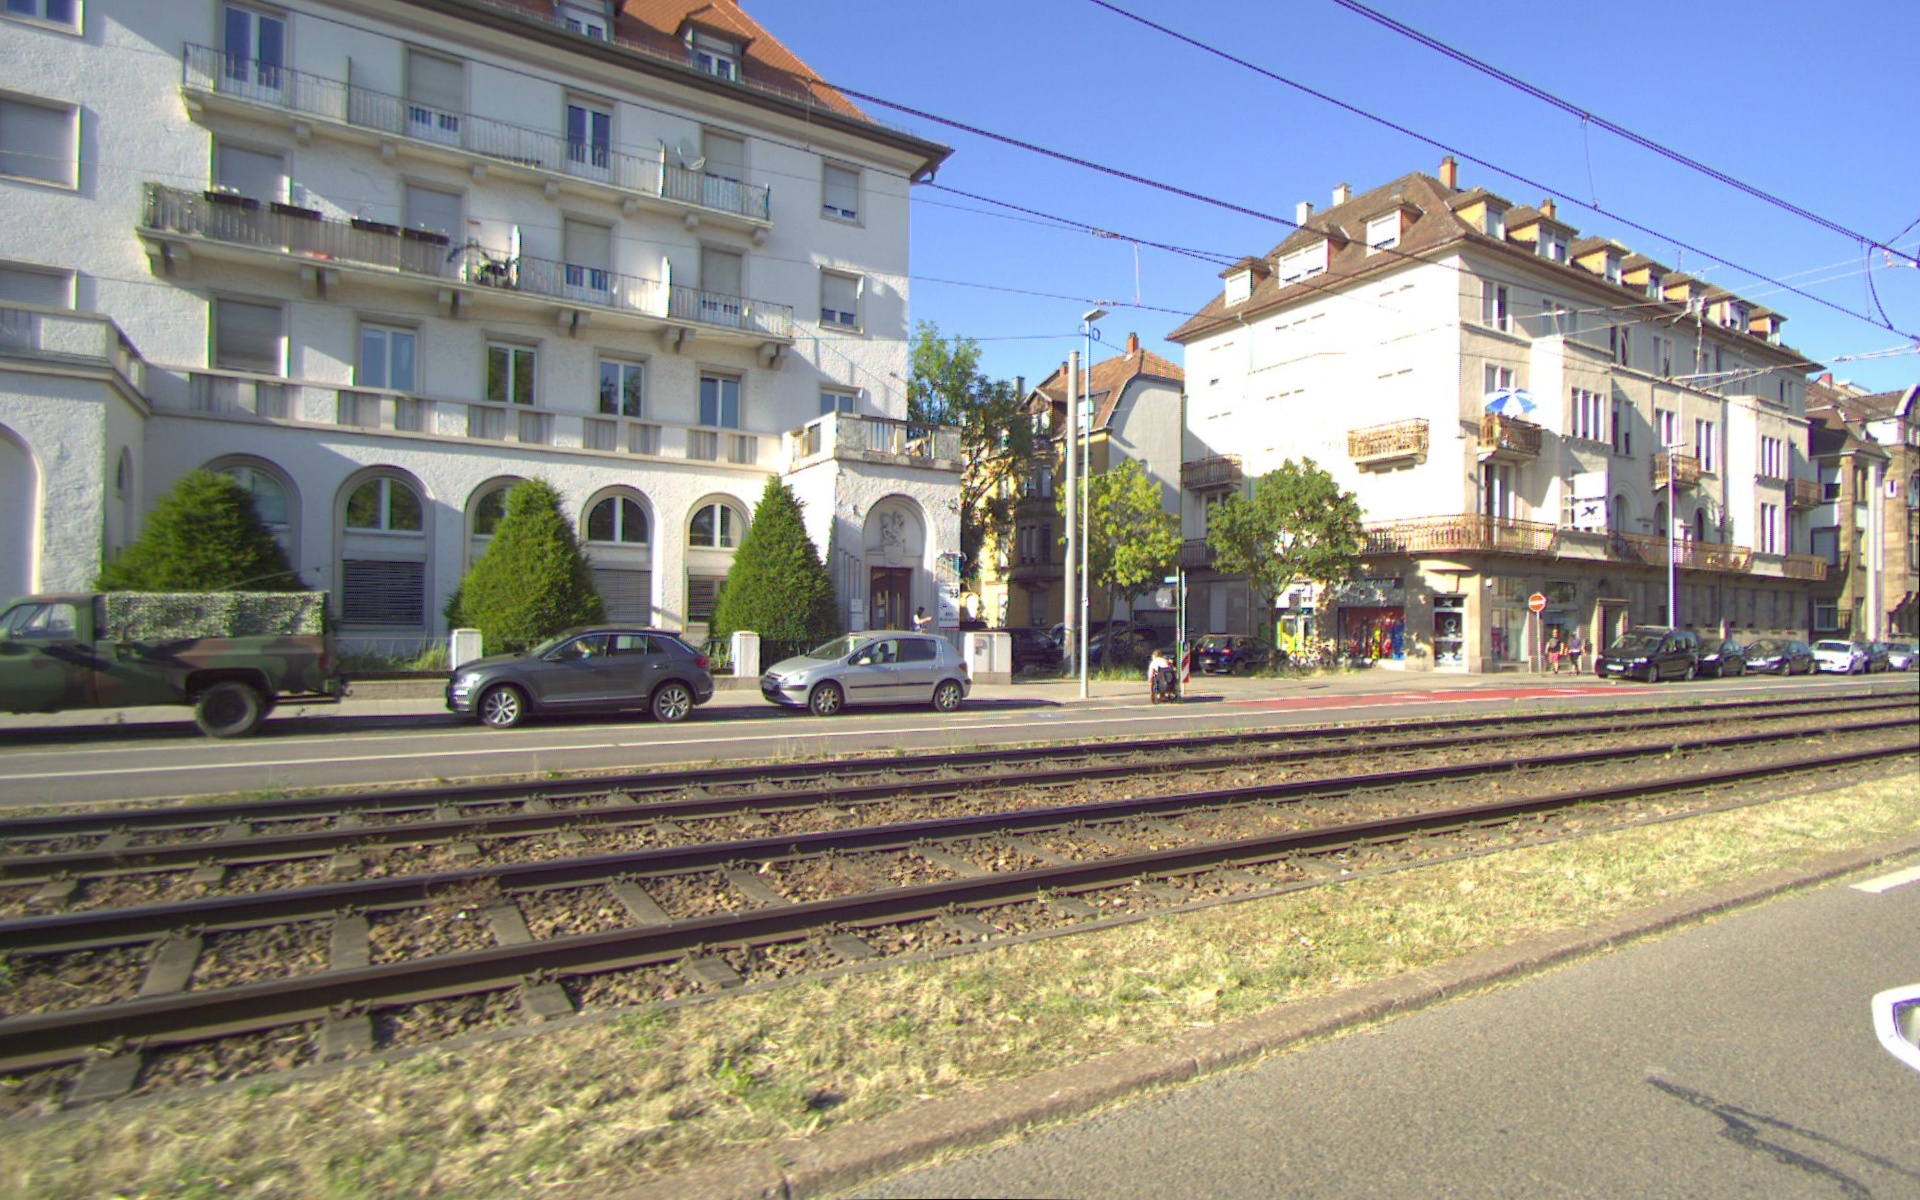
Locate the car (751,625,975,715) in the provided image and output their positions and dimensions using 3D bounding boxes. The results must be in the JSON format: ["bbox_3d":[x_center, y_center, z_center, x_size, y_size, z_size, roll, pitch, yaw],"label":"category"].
[{"bbox_3d":[-1.872,1.334,19.620,3.953,1.530,1.785,2,0,-30],"label":"car"}]

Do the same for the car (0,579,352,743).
[{"bbox_3d":[-11.683,0.778,13.854,5.525,2.037,2.067,2,0,-30],"label":"car"}]

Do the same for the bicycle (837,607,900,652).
[{"bbox_3d":[-2.363,0.776,25.952,1.611,1.102,0.460,3,0,-40],"label":"bicycle"}]

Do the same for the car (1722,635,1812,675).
[{"bbox_3d":[33.851,2.296,42.122,4.113,1.488,1.626,2,1,-32],"label":"car"}]

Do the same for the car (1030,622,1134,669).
[{"bbox_3d":[5.914,2.216,48.511,4.846,2.067,2.046,3,-3,-34],"label":"car"}]

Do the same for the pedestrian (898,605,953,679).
[{"bbox_3d":[-0.886,1.062,25.698,0.981,1.801,0.929,2,0,45],"label":"pedestrian"}]

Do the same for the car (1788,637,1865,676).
[{"bbox_3d":[38.297,2.475,44.373,3.944,1.488,1.624,1,3,-35],"label":"car"}]

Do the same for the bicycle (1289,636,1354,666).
[{"bbox_3d":[14.872,2.085,41.446,0.742,1.176,2.874,1,-2,-24],"label":"bicycle"}]

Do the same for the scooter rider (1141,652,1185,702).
[{"bbox_3d":[4.567,1.723,22.624,0.792,1.103,0.979,0,-2,0],"label":"scooter rider"}]

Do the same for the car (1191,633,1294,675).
[{"bbox_3d":[11.096,2.097,39.339,4.209,1.483,1.758,3,0,-39],"label":"car"}]

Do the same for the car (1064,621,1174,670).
[{"bbox_3d":[7.254,2.103,45.637,4.846,2.067,2.046,3,-3,-34],"label":"car"}]

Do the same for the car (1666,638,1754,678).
[{"bbox_3d":[29.578,2.263,39.611,3.471,1.410,1.618,1,2,-33],"label":"car"}]

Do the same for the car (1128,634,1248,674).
[{"bbox_3d":[9.508,2.256,41.707,4.843,1.530,2.047,3,-3,-32],"label":"car"}]

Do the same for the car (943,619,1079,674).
[{"bbox_3d":[1.709,1.563,33.226,4.215,1.662,1.785,3,-3,-32],"label":"car"}]

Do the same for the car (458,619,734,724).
[{"bbox_3d":[-6.053,1.161,16.819,4.110,1.527,1.627,3,0,-30],"label":"car"}]

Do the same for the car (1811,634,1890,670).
[{"bbox_3d":[41.678,2.429,46.970,4.113,1.488,1.626,2,1,-32],"label":"car"}]

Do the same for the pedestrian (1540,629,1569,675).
[{"bbox_3d":[22.840,1.990,38.588,0.847,1.719,0.586,2,0,-29],"label":"pedestrian"}]

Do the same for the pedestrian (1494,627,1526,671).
[{"bbox_3d":[21.688,1.916,39.616,0.943,1.683,0.636,2,0,-30],"label":"pedestrian"}]

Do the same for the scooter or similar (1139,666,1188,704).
[{"bbox_3d":[4.564,1.904,22.661,0.792,0.780,1.570,0,-2,0],"label":"scooter or similar"}]

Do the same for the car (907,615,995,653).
[{"bbox_3d":[-0.493,2.020,59.031,4.846,2.067,2.046,3,-3,-34],"label":"car"}]

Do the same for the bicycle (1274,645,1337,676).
[{"bbox_3d":[12.224,2.125,35.475,2.383,1.029,0.681,1,0,-29],"label":"bicycle"}]

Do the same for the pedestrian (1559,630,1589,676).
[{"bbox_3d":[23.256,2.004,38.024,0.847,1.719,0.586,2,0,-29],"label":"pedestrian"}]

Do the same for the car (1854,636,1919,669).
[{"bbox_3d":[46.208,2.569,49.824,4.111,1.488,1.627,1,0,-31],"label":"car"}]

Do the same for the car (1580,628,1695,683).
[{"bbox_3d":[24.498,1.964,36.278,4.353,1.810,1.852,1,1,-33],"label":"car"}]
